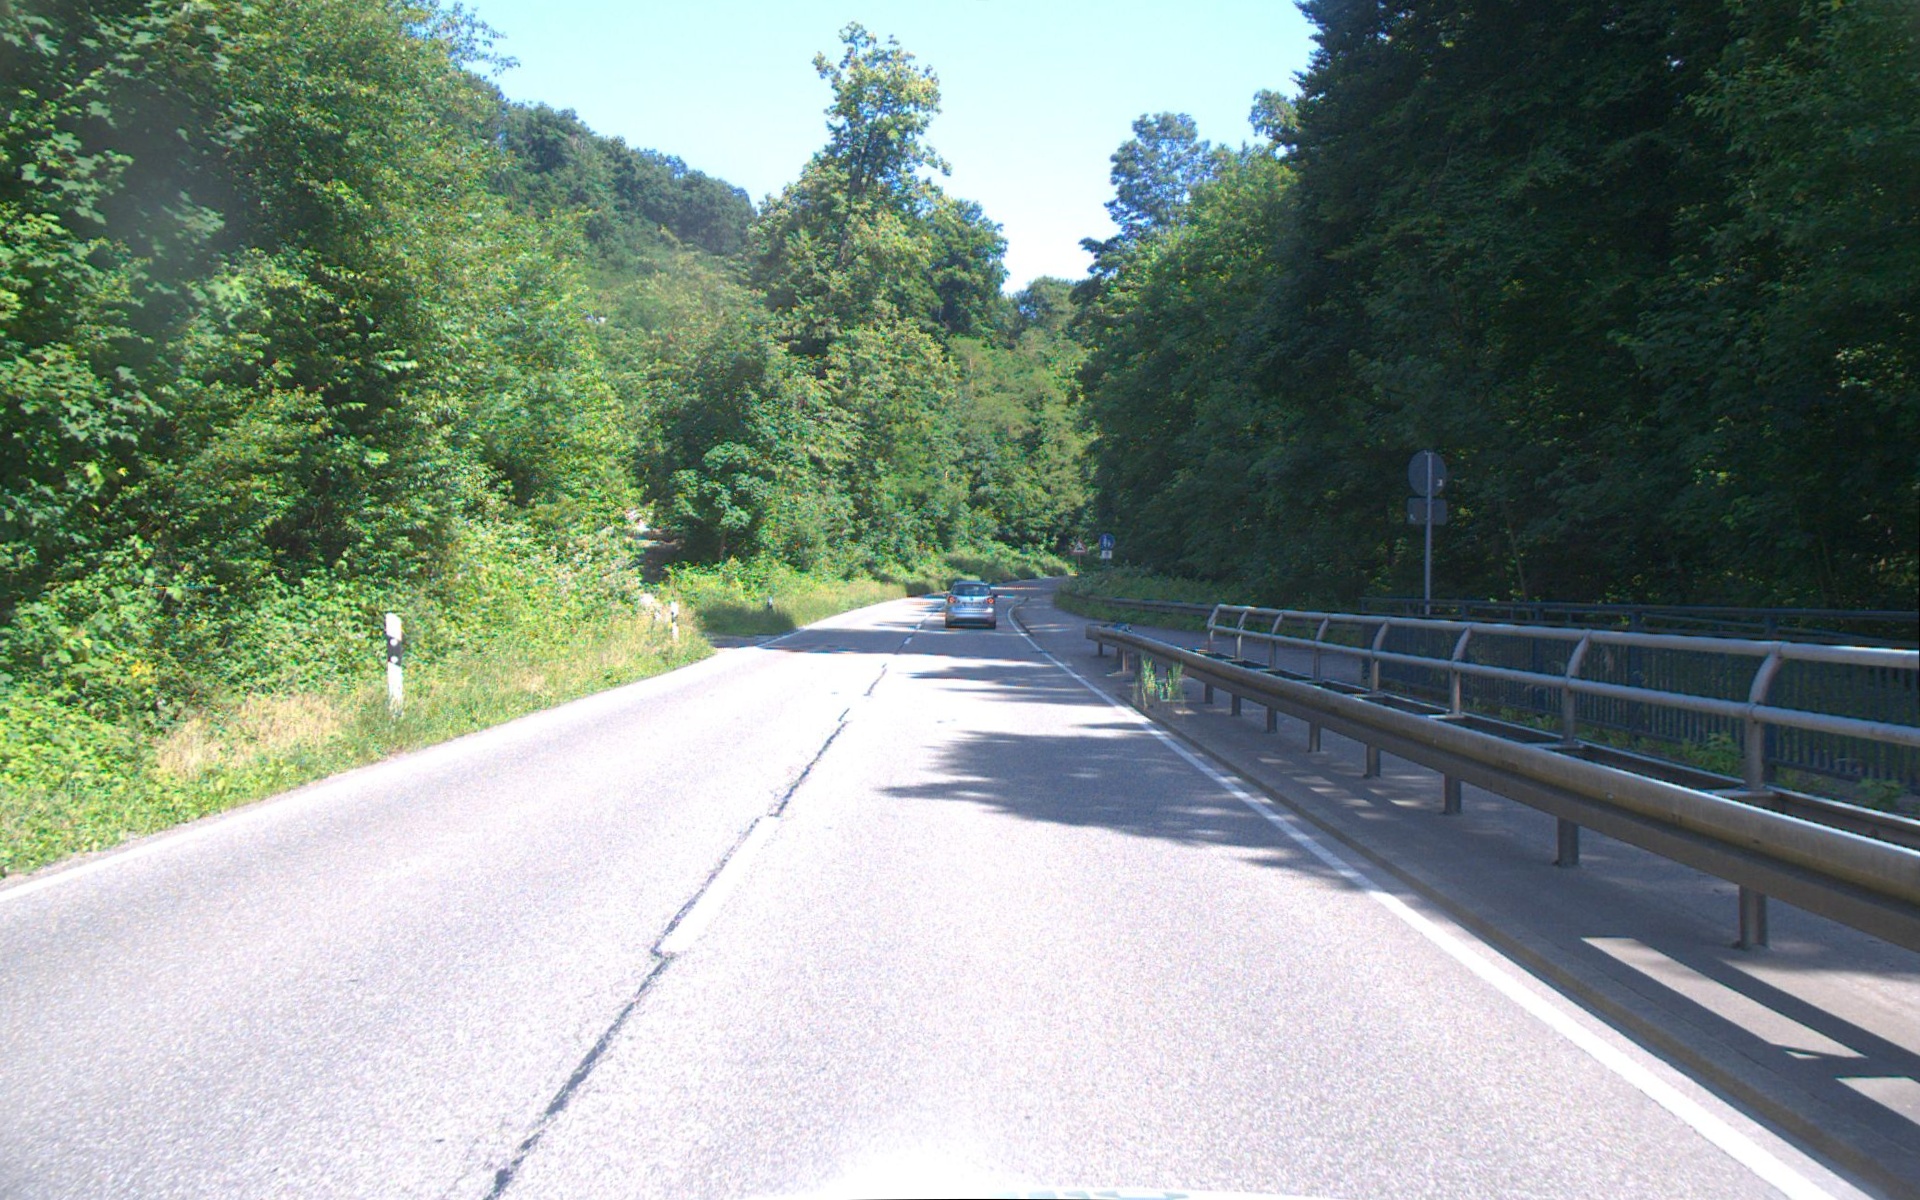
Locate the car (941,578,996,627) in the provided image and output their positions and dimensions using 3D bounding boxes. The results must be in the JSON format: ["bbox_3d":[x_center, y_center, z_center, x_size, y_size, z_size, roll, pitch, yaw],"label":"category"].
[{"bbox_3d":[0.333,0.057,56.171,1.715,1.546,4.161,1,1,2],"label":"car"}]
